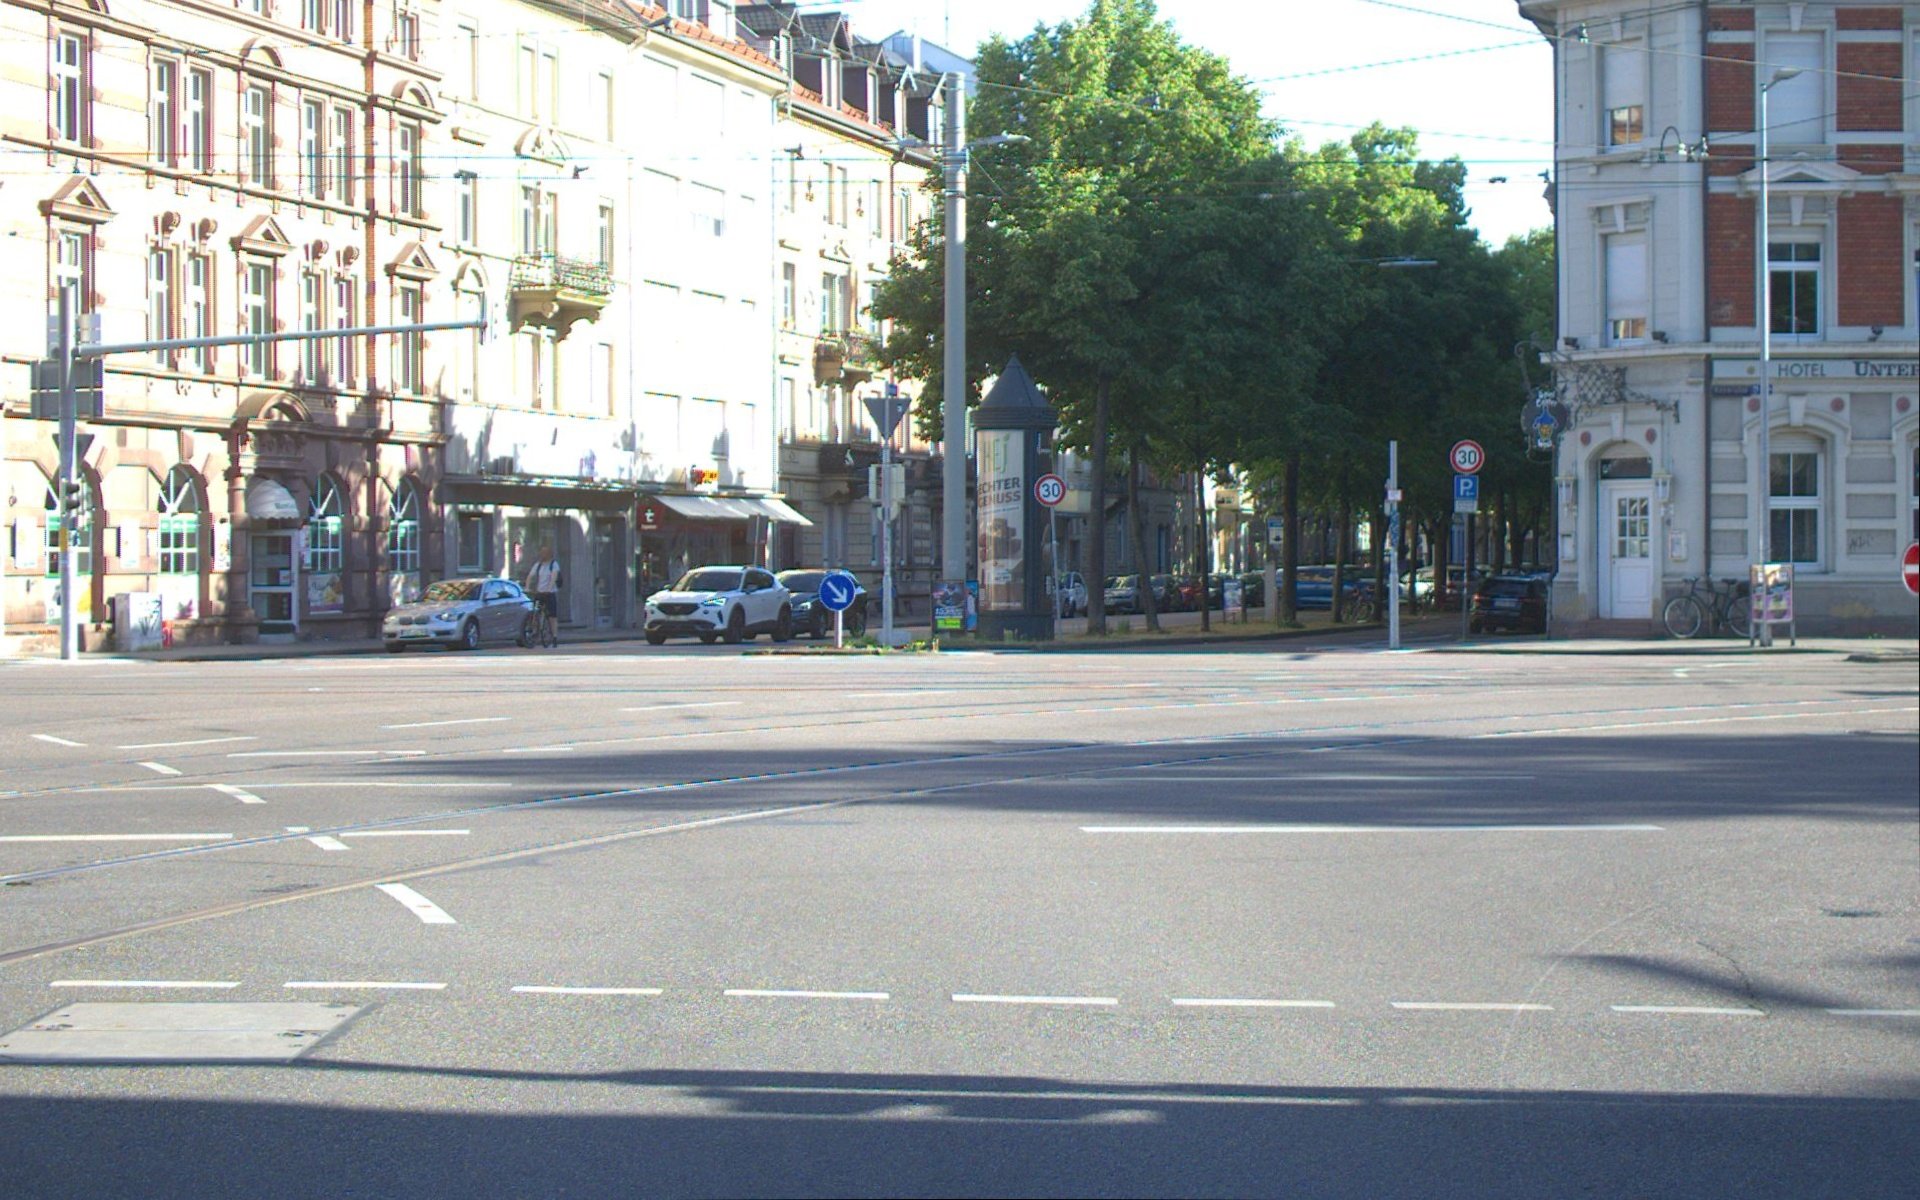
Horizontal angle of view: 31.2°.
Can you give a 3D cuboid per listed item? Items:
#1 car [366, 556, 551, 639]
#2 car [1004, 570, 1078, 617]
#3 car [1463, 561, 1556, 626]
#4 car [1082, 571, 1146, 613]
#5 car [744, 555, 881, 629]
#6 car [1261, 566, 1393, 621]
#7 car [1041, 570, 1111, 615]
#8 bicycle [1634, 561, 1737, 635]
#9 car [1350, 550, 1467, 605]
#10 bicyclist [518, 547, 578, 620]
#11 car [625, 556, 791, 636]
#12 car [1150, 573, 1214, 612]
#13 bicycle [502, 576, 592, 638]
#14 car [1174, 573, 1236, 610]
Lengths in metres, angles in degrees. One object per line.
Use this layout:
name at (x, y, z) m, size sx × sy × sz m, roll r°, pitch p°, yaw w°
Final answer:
car at (-9.775, -0.072, 67.376) m, size 2.098 × 1.540 × 4.361 m, roll 0°, pitch 1°, yaw 14°
car at (2.601, -0.217, 109.996) m, size 1.741 × 1.393 × 4.122 m, roll 3°, pitch 1°, yaw 9°
car at (13.171, -0.157, 82.281) m, size 1.652 × 1.519 × 3.750 m, roll 0°, pitch 0°, yaw 17°
car at (5.513, -0.304, 122.778) m, size 1.741 × 1.393 × 4.122 m, roll 3°, pitch 1°, yaw 9°
car at (-3.126, -0.191, 73.528) m, size 1.994 × 1.508 × 3.998 m, roll 0°, pitch 1°, yaw 12°
car at (12.296, -0.227, 115.220) m, size 4.113 × 1.640 × 1.745 m, roll 3°, pitch 1°, yaw 15°
car at (3.926, -0.257, 115.801) m, size 1.741 × 1.393 × 4.122 m, roll 3°, pitch 1°, yaw 9°
bicycle at (12.064, -0.035, 57.129) m, size 1.639 × 1.218 × 0.606 m, roll 0°, pitch 1°, yaw 16°
car at (17.415, -0.878, 133.418) m, size 4.115 × 1.912 × 1.744 m, roll 3°, pitch 1°, yaw 21°
bicyclist at (-7.851, -0.316, 65.587) m, size 0.794 × 1.370 × 1.107 m, roll 0°, pitch 1°, yaw 14°
car at (-4.876, -0.104, 67.161) m, size 2.098 × 1.494 × 3.998 m, roll 0°, pitch 1°, yaw 14°
car at (8.514, -0.314, 131.602) m, size 1.742 × 1.393 × 4.121 m, roll 3°, pitch 1°, yaw 13°
bicycle at (-7.864, 0.126, 65.624) m, size 0.751 × 1.131 × 2.808 m, roll 0°, pitch 1°, yaw 14°
car at (9.733, -0.349, 136.381) m, size 1.742 × 1.393 × 4.121 m, roll 3°, pitch 1°, yaw 13°
